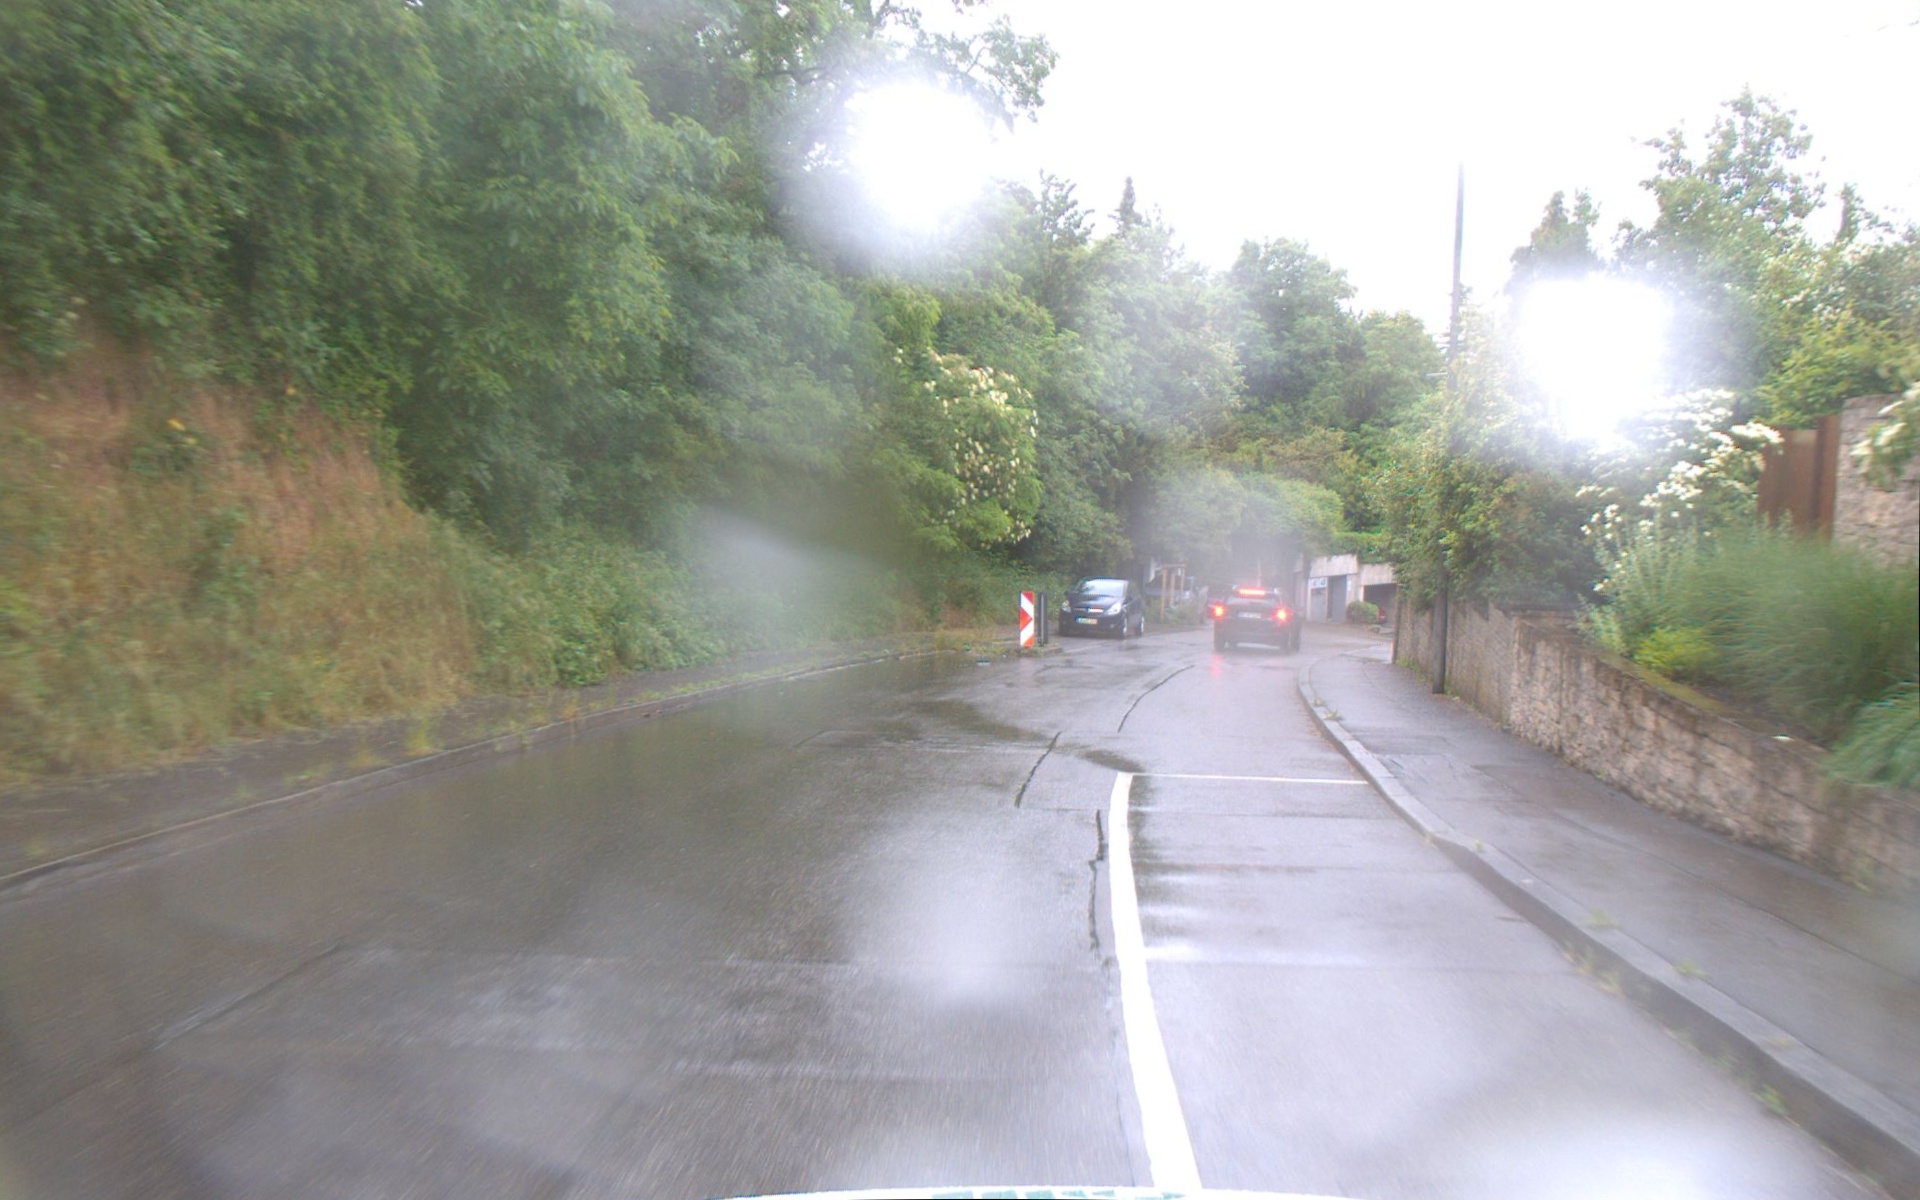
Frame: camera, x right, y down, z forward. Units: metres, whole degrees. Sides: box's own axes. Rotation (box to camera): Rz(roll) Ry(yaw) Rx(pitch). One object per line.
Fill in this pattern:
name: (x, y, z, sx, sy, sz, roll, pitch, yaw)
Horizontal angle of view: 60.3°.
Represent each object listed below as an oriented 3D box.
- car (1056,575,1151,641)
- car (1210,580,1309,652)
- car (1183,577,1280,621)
car: (3.680, 0.161, 41.916, 1.664, 1.496, 4.003, 3, 1, 15)
car: (7.037, 0.329, 38.624, 1.829, 1.538, 4.095, 1, 1, 16)
car: (10.698, -0.032, 64.837, 1.960, 1.534, 4.555, 3, 1, 34)
